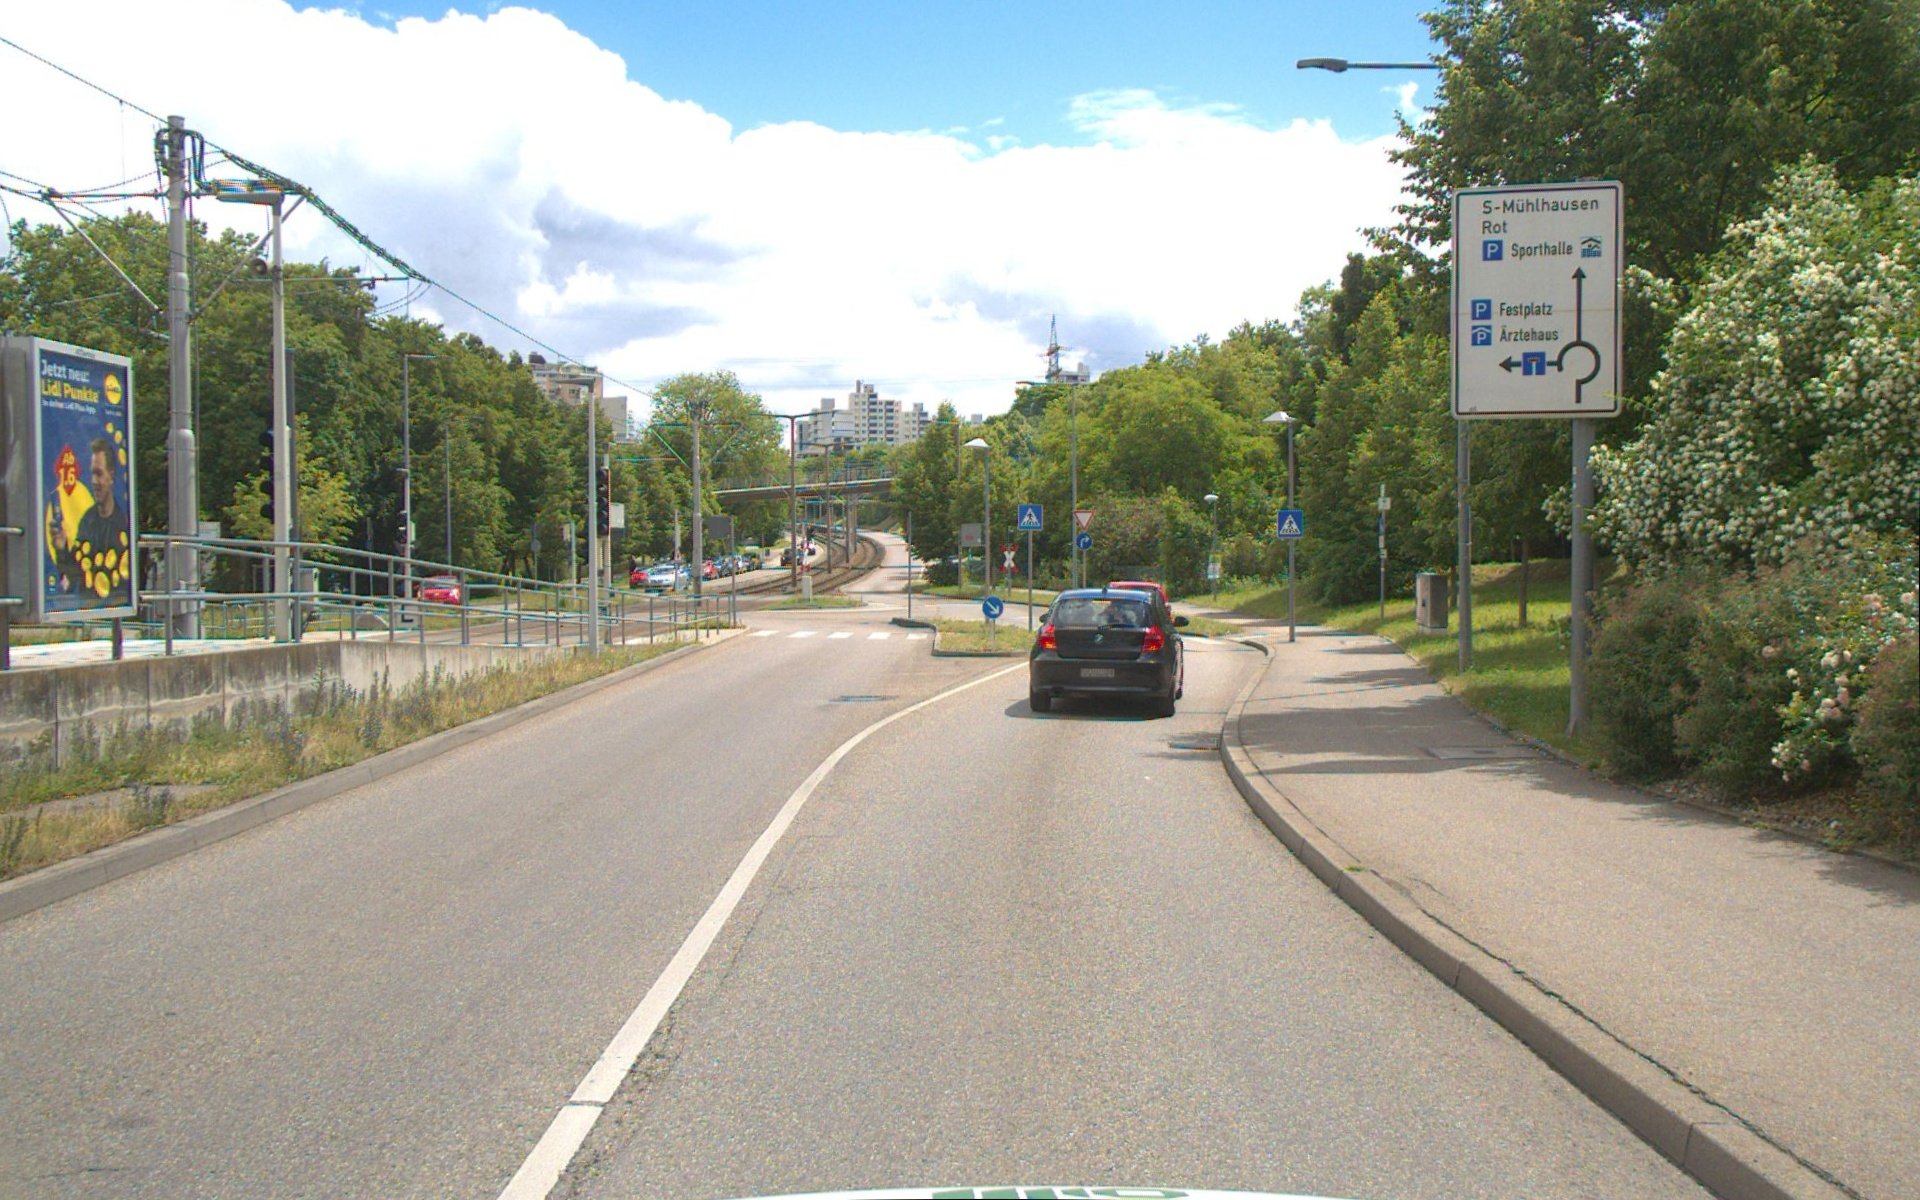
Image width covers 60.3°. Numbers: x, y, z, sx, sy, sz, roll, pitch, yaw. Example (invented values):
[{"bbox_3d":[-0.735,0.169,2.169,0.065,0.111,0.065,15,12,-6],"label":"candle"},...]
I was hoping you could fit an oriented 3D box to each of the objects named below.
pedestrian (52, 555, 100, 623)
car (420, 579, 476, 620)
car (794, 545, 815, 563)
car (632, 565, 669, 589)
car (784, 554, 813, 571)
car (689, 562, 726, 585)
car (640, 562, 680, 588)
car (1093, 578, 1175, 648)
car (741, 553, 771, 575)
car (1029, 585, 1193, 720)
[{"bbox_3d":[-26.691,-0.342,49.970,0.940,2.048,0.822,0,2,19],"label":"pedestrian"},{"bbox_3d":[-20.203,-0.026,65.397,1.688,1.529,2.960,-1,1,-9],"label":"car"},{"bbox_3d":[-18.126,-5.330,192.617,1.959,2.048,3.987,-1,1,-13],"label":"car"},{"bbox_3d":[-18.588,-1.391,99.458,1.497,1.394,3.598,-1,1,0],"label":"car"},{"bbox_3d":[-15.381,-3.549,157.334,1.951,1.625,4.423,-1,1,5],"label":"car"},{"bbox_3d":[-18.446,-1.957,121.021,1.872,1.588,4.002,0,1,3],"label":"car"},{"bbox_3d":[-16.956,-1.431,93.622,1.840,1.373,3.827,-1,2,-6],"label":"car"},{"bbox_3d":[3.930,0.264,37.450,1.728,1.457,3.481,-1,0,6],"label":"car"},{"bbox_3d":[-18.216,-3.185,147.560,1.952,1.895,4.003,0,2,3],"label":"car"},{"bbox_3d":[1.874,0.579,20.230,1.777,1.445,4.003,-1,0,6],"label":"car"}]
